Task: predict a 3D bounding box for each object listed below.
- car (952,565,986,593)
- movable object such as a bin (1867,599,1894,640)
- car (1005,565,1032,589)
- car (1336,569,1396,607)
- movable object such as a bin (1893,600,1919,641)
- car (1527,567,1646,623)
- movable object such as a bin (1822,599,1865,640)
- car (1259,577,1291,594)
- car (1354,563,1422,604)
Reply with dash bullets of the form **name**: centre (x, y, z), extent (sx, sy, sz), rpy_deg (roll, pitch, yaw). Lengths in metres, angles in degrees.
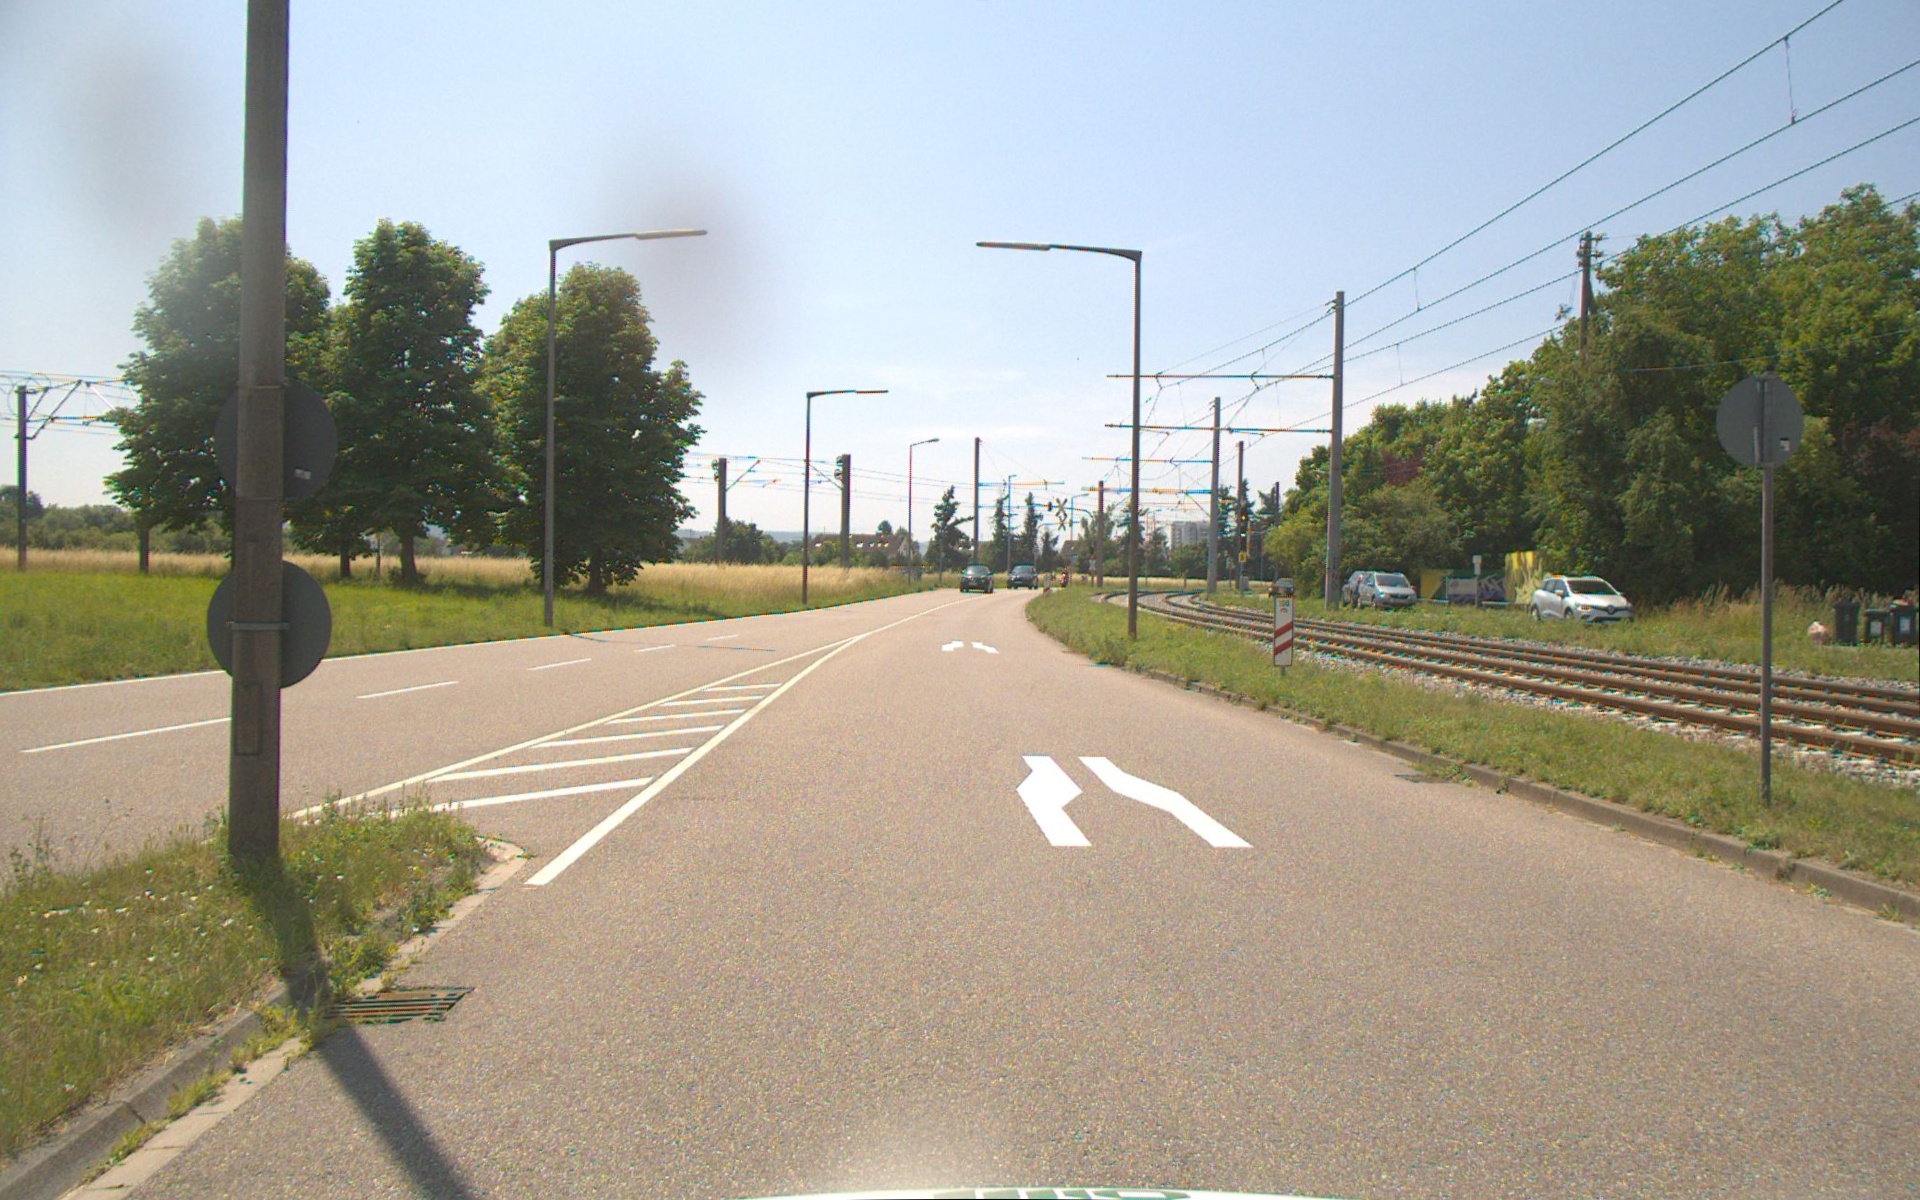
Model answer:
- **car**: centre (0.568, -1.271, 100.007), extent (1.783, 1.600, 4.114), rpy_deg (1, 0, 4)
- **movable object such as a bin**: centre (21.792, 0.470, 39.171), extent (0.438, 0.951, 0.803), rpy_deg (1, 0, 21)
- **car**: centre (4.268, -1.668, 119.617), extent (1.788, 1.629, 4.487), rpy_deg (1, 1, 3)
- **car**: centre (18.612, -0.521, 76.051), extent (1.789, 1.685, 4.817), rpy_deg (1, 0, 3)
- **movable object such as a bin**: centre (22.328, 0.478, 38.885), extent (0.572, 0.951, 0.828), rpy_deg (1, 0, 21)
- **car**: centre (17.293, -0.120, 45.888), extent (1.645, 1.439, 4.550), rpy_deg (1, 0, 1)
- **movable object such as a bin**: centre (20.799, 0.452, 38.946), extent (0.784, 0.951, 0.780), rpy_deg (1, 0, 21)
- **car**: centre (22.079, -1.031, 116.048), extent (1.610, 1.191, 3.670), rpy_deg (1, 1, 1)
- **car**: centre (18.000, -0.666, 69.694), extent (1.642, 1.652, 4.711), rpy_deg (1, 0, 0)
